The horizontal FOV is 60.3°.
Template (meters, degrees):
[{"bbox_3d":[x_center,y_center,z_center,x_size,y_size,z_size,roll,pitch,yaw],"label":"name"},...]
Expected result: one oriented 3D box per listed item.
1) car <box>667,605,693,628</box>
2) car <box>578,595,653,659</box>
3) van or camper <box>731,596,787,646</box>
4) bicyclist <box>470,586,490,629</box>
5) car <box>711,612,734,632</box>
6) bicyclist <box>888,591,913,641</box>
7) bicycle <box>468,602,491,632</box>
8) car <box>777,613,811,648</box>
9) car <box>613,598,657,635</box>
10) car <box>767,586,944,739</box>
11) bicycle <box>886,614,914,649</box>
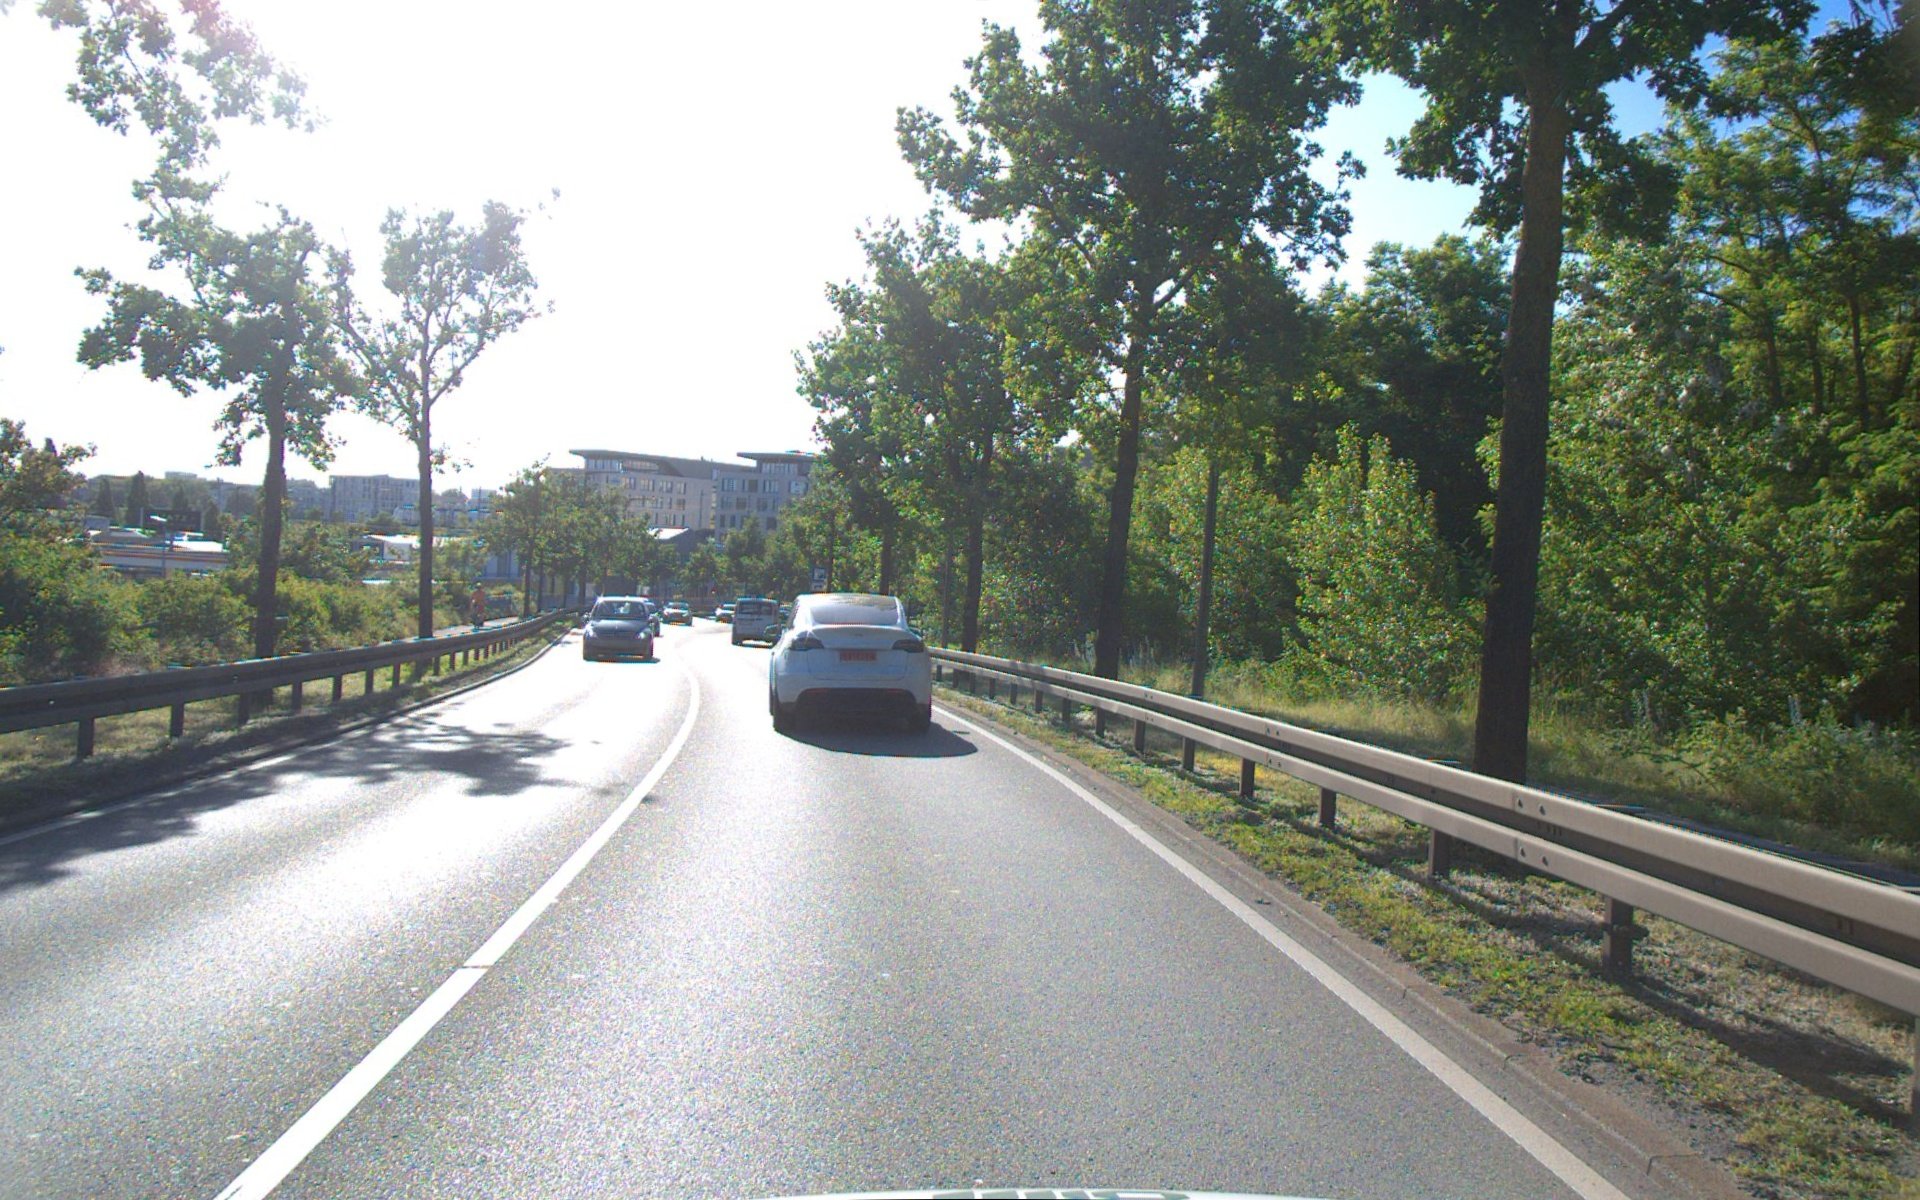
[{"bbox_3d":[-19.021,1.077,112.300,1.660,1.466,4.207,2,0,-9],"label":"car"},{"bbox_3d":[-9.119,0.691,44.009,1.776,1.581,4.130,2,0,-10],"label":"car"},{"bbox_3d":[-8.229,0.844,68.133,1.919,1.917,4.876,2,0,-3],"label":"van or camper"},{"bbox_3d":[-18.845,0.289,64.925,0.640,1.652,0.872,2,-1,-11],"label":"bicyclist"},{"bbox_3d":[-19.841,1.841,138.159,1.776,1.523,4.360,2,0,-9],"label":"car"},{"bbox_3d":[-1.944,0.531,54.045,0.692,1.606,1.005,2,-1,3],"label":"bicyclist"},{"bbox_3d":[-18.826,0.658,64.802,0.648,1.114,2.102,2,0,-11],"label":"bicycle"},{"bbox_3d":[-8.644,1.567,85.940,1.574,1.459,3.674,4,2,-7],"label":"car"},{"bbox_3d":[-14.461,0.721,73.697,1.816,1.518,4.704,2,0,-11],"label":"car"},{"bbox_3d":[-1.426,0.712,20.876,1.878,1.669,4.402,2,0,-8],"label":"car"},{"bbox_3d":[-1.959,1.031,54.014,0.686,1.093,1.921,2,-2,3],"label":"bicycle"}]
